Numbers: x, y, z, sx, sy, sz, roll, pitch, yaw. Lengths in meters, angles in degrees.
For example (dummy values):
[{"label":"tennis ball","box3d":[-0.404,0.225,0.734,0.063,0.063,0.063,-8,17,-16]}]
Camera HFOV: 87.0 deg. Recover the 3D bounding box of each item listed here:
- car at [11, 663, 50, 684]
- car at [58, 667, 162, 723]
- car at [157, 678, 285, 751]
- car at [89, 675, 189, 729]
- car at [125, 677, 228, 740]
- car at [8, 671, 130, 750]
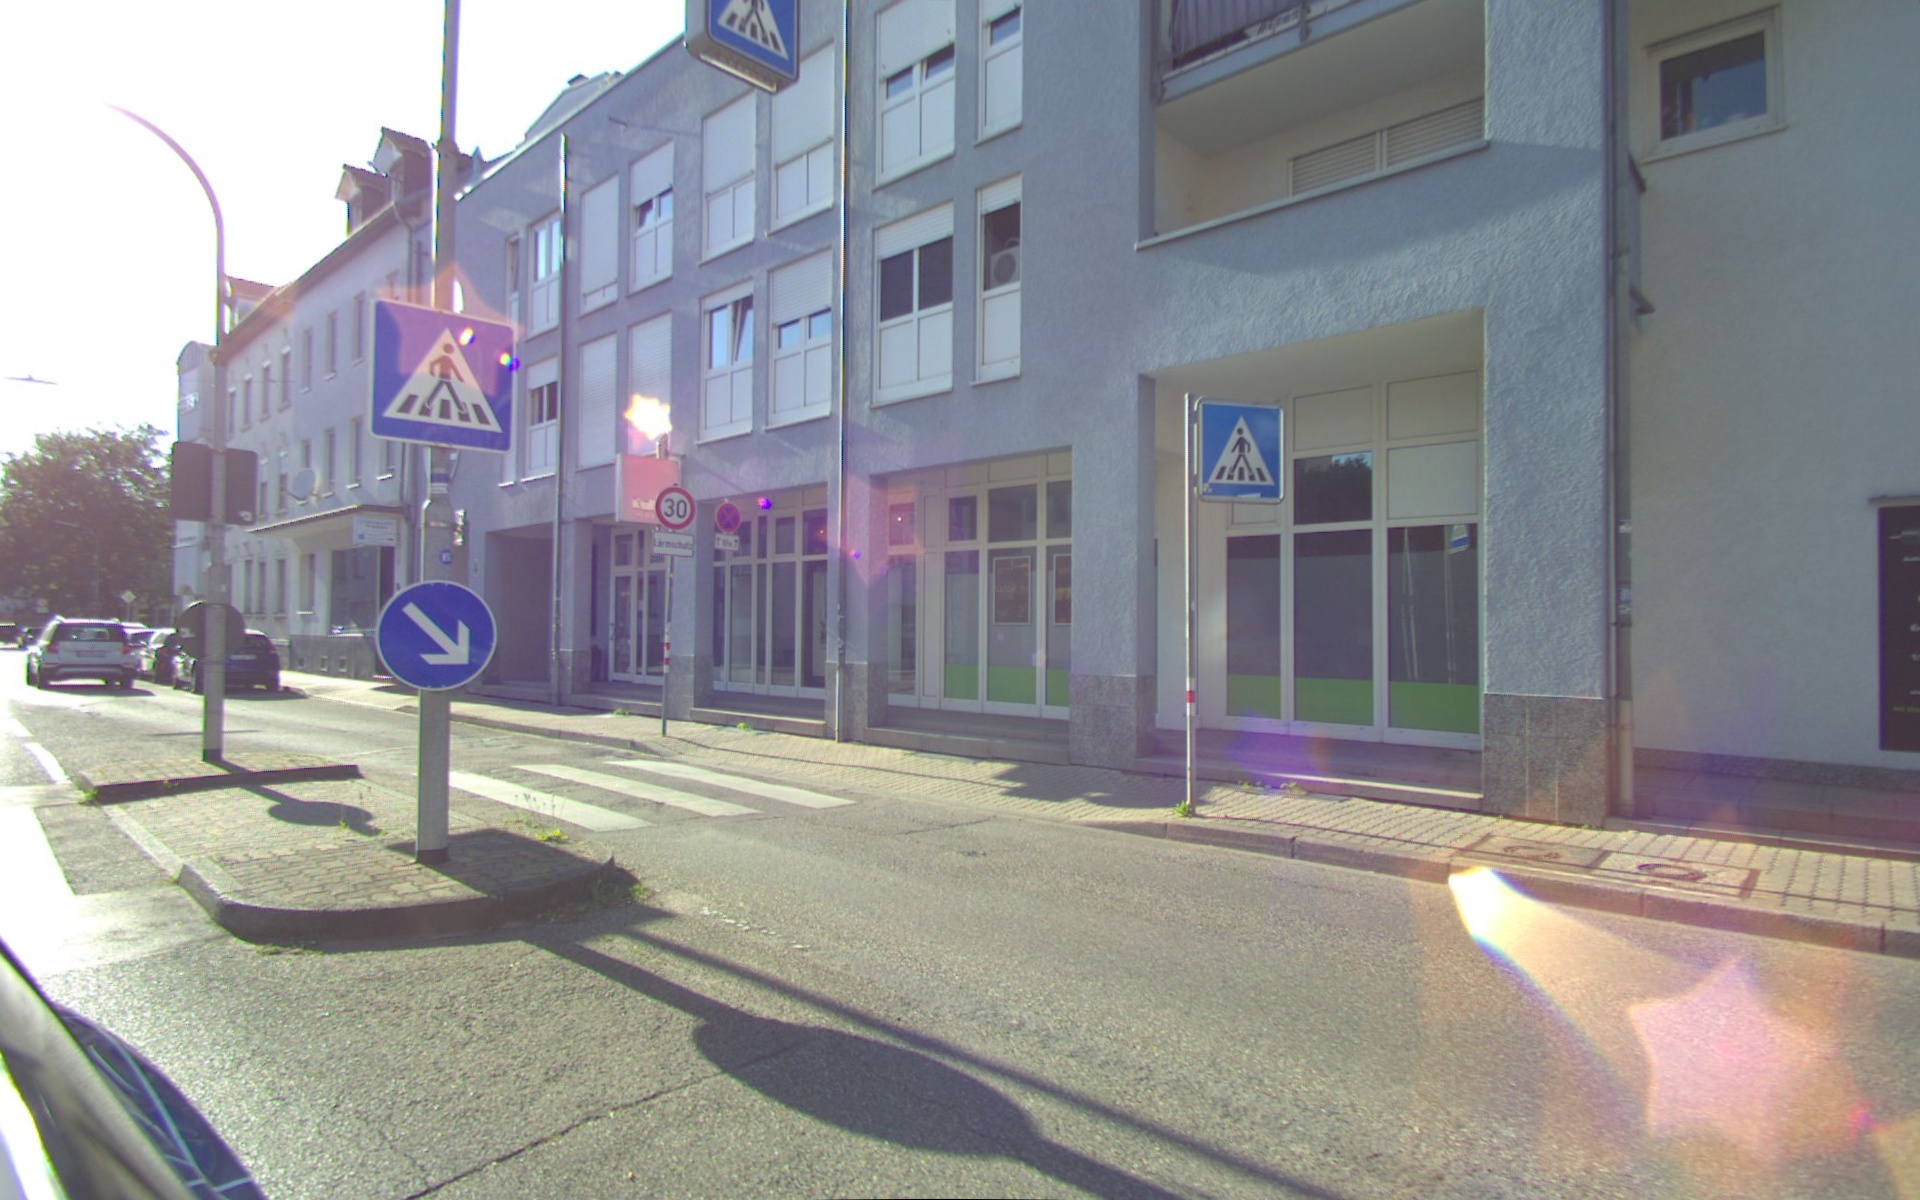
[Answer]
[{"label":"car","box3d":[-68.895,5.398,74.976,3.998,1.503,1.679,-3,-4,41]},{"label":"car","box3d":[-29.926,3.271,35.566,5.218,1.660,1.973,-2,-2,41]},{"label":"car","box3d":[-17.774,2.685,24.282,3.958,1.511,1.712,-3,-4,42]},{"label":"car","box3d":[-25.763,3.150,31.703,4.125,1.507,1.746,-2,-5,42]},{"label":"car","box3d":[-21.870,2.966,28.192,3.809,1.538,1.642,-3,-4,43]},{"label":"car","box3d":[-21.951,2.629,24.894,4.192,1.715,1.787,-3,-5,43]}]
